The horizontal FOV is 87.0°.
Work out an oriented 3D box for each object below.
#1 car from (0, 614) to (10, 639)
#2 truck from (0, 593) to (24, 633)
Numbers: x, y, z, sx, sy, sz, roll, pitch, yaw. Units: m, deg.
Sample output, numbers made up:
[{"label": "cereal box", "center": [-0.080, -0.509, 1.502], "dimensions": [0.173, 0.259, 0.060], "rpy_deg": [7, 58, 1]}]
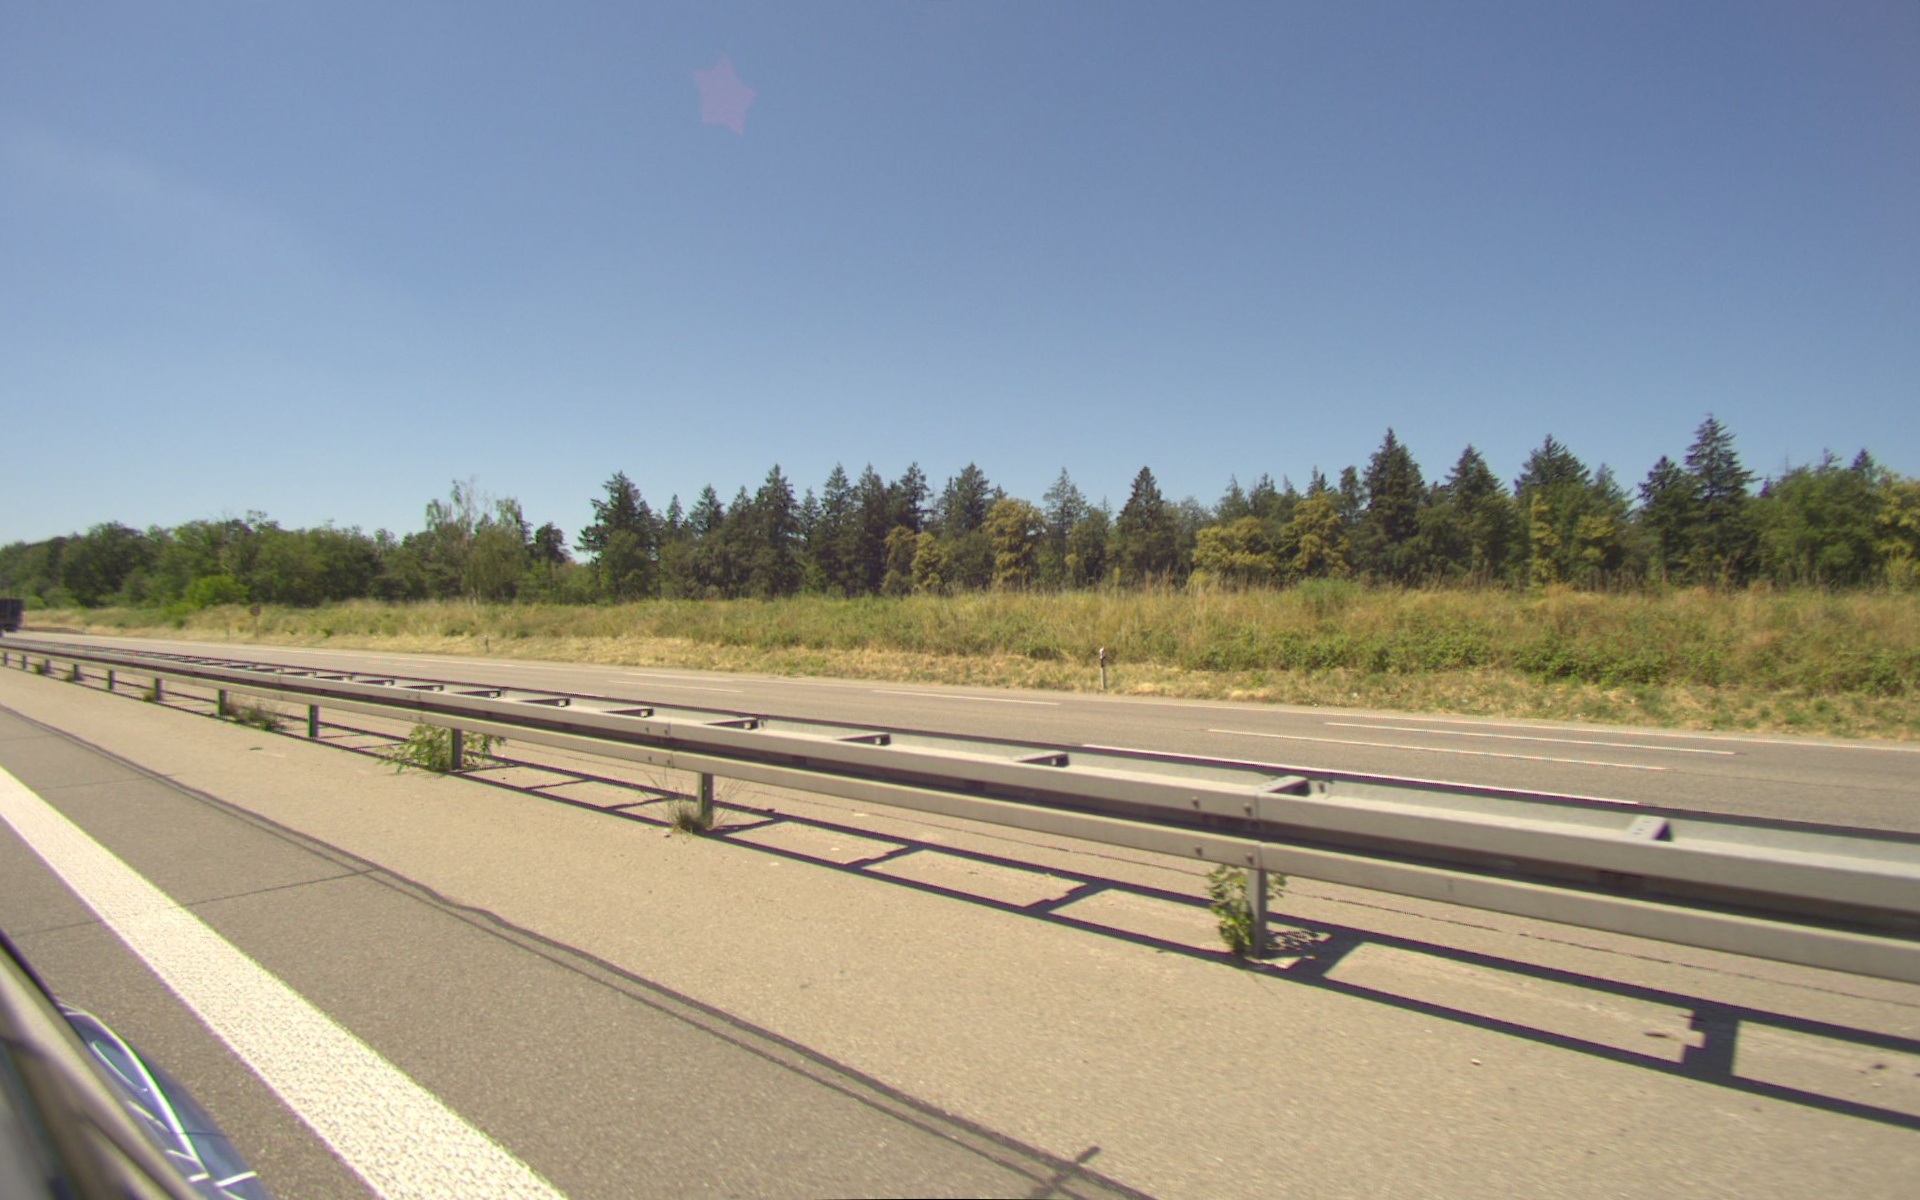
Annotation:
[{"label": "car", "center": [-74.162, 1.976, 76.837], "dimensions": [5.221, 1.909, 2.339], "rpy_deg": [-1, -4, 41]}, {"label": "truck", "center": [-118.286, 1.613, 124.347], "dimensions": [12.180, 4.660, 3.341], "rpy_deg": [-1, -4, 41]}]
